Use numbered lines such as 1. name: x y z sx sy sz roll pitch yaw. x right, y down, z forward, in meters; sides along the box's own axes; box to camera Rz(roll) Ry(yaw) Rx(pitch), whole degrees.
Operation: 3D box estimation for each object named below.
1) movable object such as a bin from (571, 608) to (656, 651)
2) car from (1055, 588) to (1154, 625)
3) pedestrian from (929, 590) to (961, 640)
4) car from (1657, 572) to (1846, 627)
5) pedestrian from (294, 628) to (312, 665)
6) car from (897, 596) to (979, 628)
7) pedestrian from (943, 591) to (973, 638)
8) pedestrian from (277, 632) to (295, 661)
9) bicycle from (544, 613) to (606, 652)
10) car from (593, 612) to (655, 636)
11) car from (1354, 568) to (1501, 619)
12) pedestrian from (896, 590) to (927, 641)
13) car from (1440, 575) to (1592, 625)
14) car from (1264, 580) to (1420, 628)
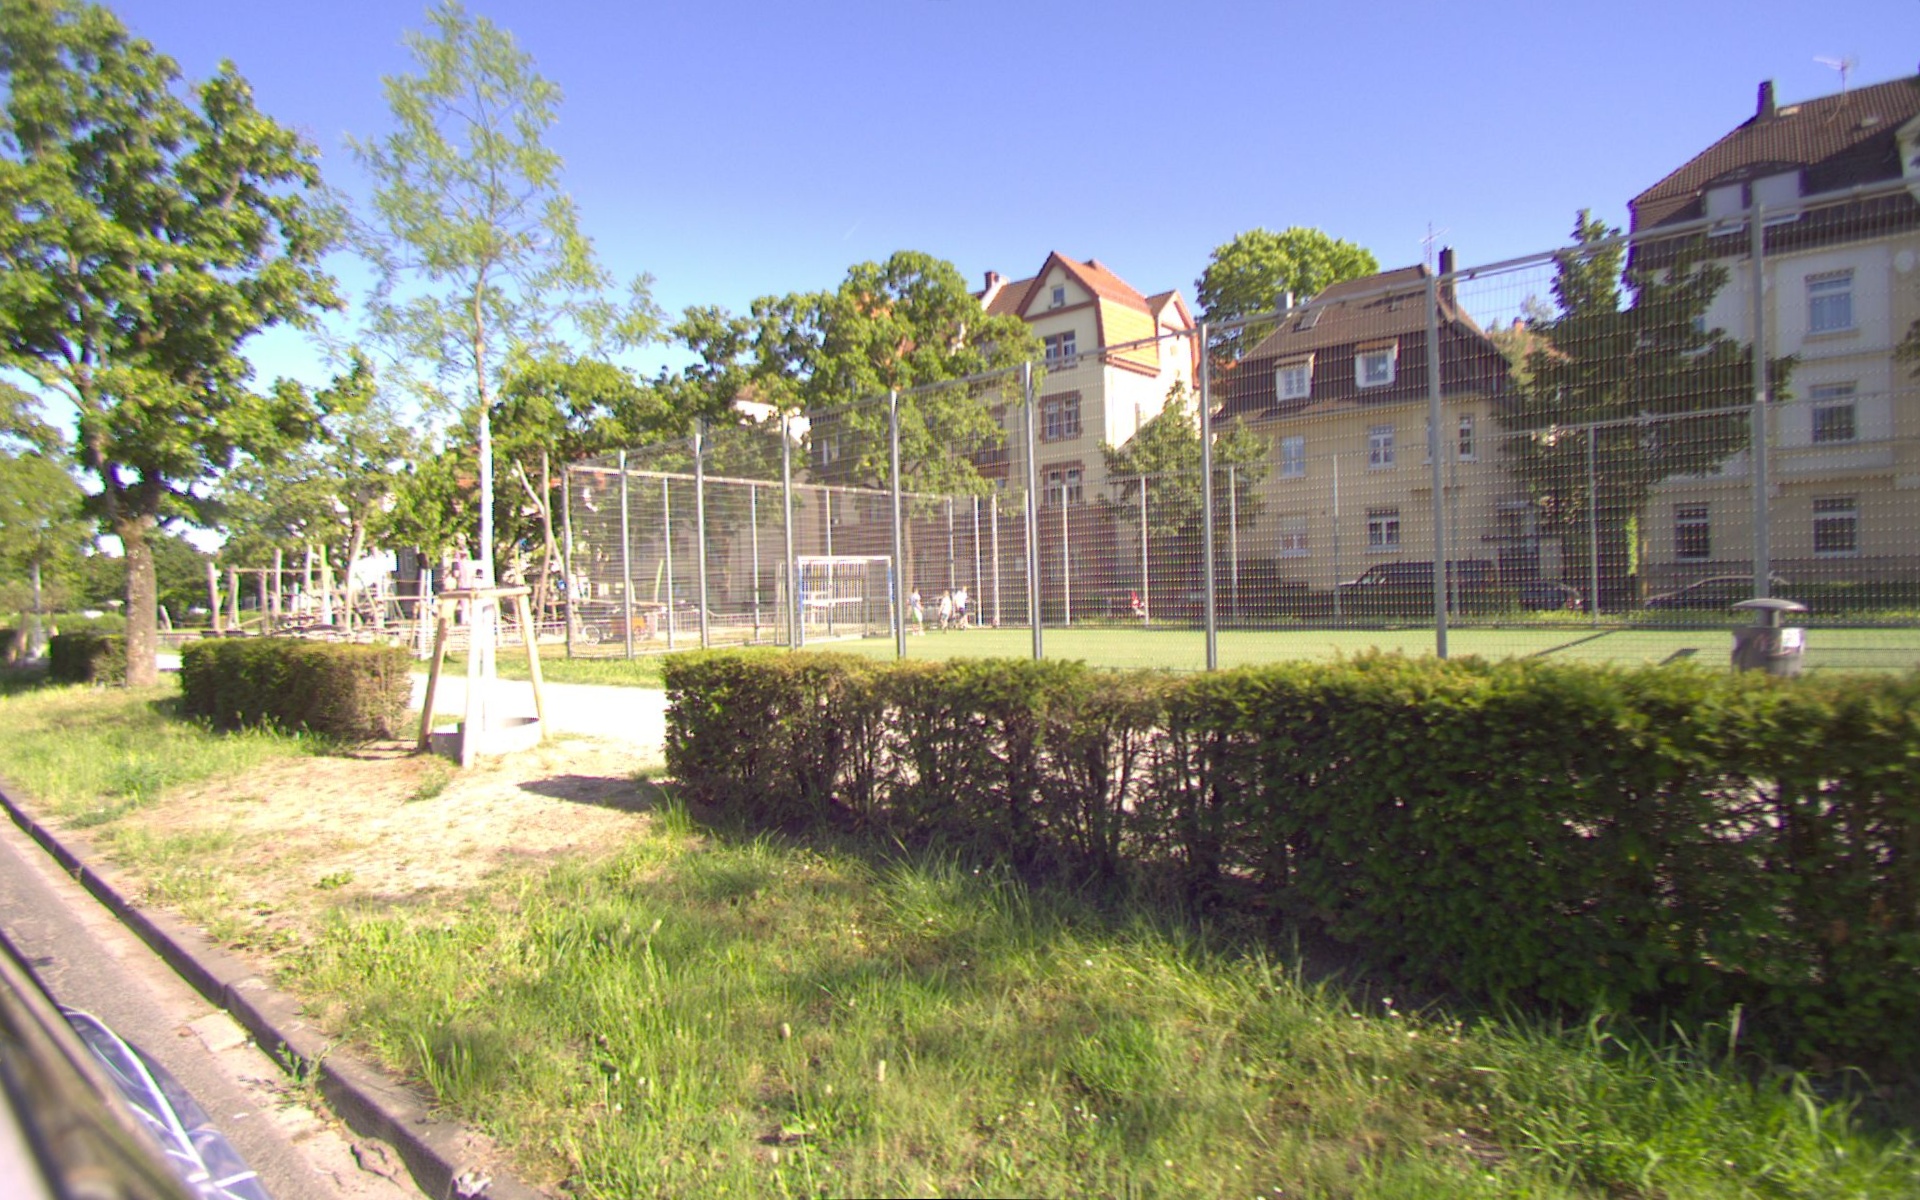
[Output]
1. movable object such as a bin: -10.678 0.882 31.270 1.054 1.251 2.309 -2 -1 36
2. car: 6.411 0.298 45.081 3.998 1.521 1.776 -2 0 41
3. pedestrian: -0.416 0.399 27.714 0.639 1.328 0.652 -2 0 -20
4. car: 23.642 0.007 30.350 4.345 1.521 1.776 -2 0 41
5. pedestrian: -30.805 2.175 47.485 0.639 1.674 0.652 -2 0 -31
6. car: -1.151 0.638 51.922 3.998 1.521 1.776 -2 0 41
7. pedestrian: -0.052 0.406 29.158 0.639 1.328 0.652 -2 0 -20
8. pedestrian: -32.214 2.209 48.358 0.639 1.339 0.652 -2 0 -31
9. bicycle: -12.091 1.014 31.834 0.499 1.116 1.777 -2 0 39
10. car: -23.545 1.684 70.834 4.760 1.521 1.887 -2 0 40
11. car: 15.174 -0.197 32.944 3.998 1.521 1.776 -2 0 41
12. pedestrian: -1.314 0.418 27.344 0.639 1.328 0.652 -2 0 -20
13. car: 18.855 0.016 34.416 4.229 1.521 1.776 -2 0 41
14. car: 14.405 0.182 38.383 5.179 1.664 1.862 -2 0 41
